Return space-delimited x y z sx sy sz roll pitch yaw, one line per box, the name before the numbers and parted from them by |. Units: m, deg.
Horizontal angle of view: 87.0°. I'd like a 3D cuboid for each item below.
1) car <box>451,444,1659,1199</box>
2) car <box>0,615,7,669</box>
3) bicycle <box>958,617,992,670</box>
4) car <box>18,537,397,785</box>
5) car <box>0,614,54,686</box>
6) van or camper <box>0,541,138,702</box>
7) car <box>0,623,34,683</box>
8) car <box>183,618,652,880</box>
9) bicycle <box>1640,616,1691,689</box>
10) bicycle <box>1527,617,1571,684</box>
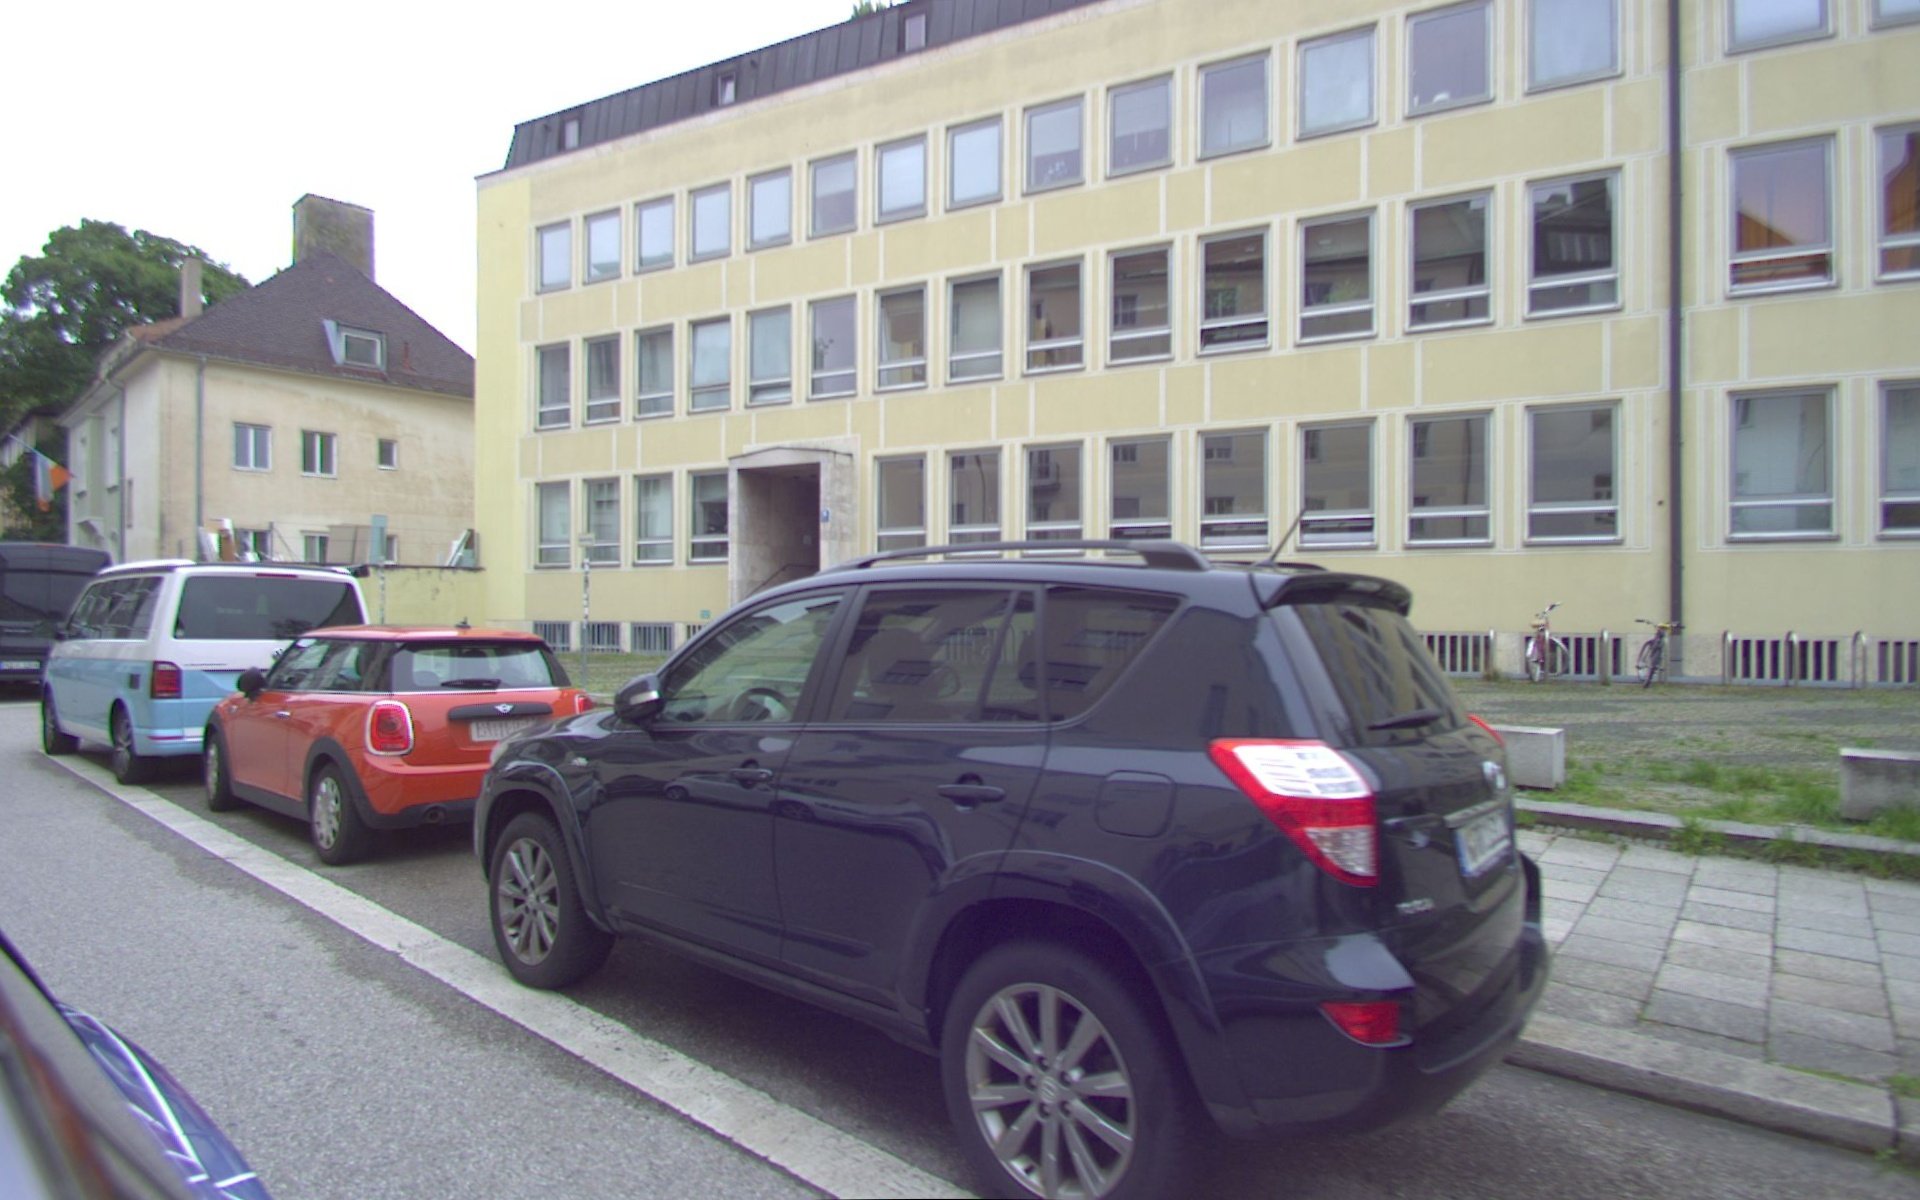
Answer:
car | -0.072 0.651 3.675 4.138 1.702 1.697 -1 -3 41
car | -29.824 1.222 30.079 5.092 1.553 1.843 -1 -3 43
bicycle | 0.305 0.828 19.791 0.410 0.952 1.406 -1 0 12
car | -7.869 0.570 10.389 4.955 1.975 1.896 -2 -3 39
car | -21.657 1.072 22.437 3.903 1.508 1.637 -1 -3 38
van or camper | -17.570 0.413 19.155 5.560 2.671 2.268 -1 -3 43
car | -24.991 1.297 25.562 4.281 1.447 1.659 -1 -3 39
car | -4.090 0.878 7.410 3.707 1.417 1.786 -1 -3 41
bicycle | 10.192 0.738 14.640 0.412 0.952 1.398 -1 1 28
bicycle | 9.175 0.764 15.743 0.414 0.952 1.394 -1 1 37
